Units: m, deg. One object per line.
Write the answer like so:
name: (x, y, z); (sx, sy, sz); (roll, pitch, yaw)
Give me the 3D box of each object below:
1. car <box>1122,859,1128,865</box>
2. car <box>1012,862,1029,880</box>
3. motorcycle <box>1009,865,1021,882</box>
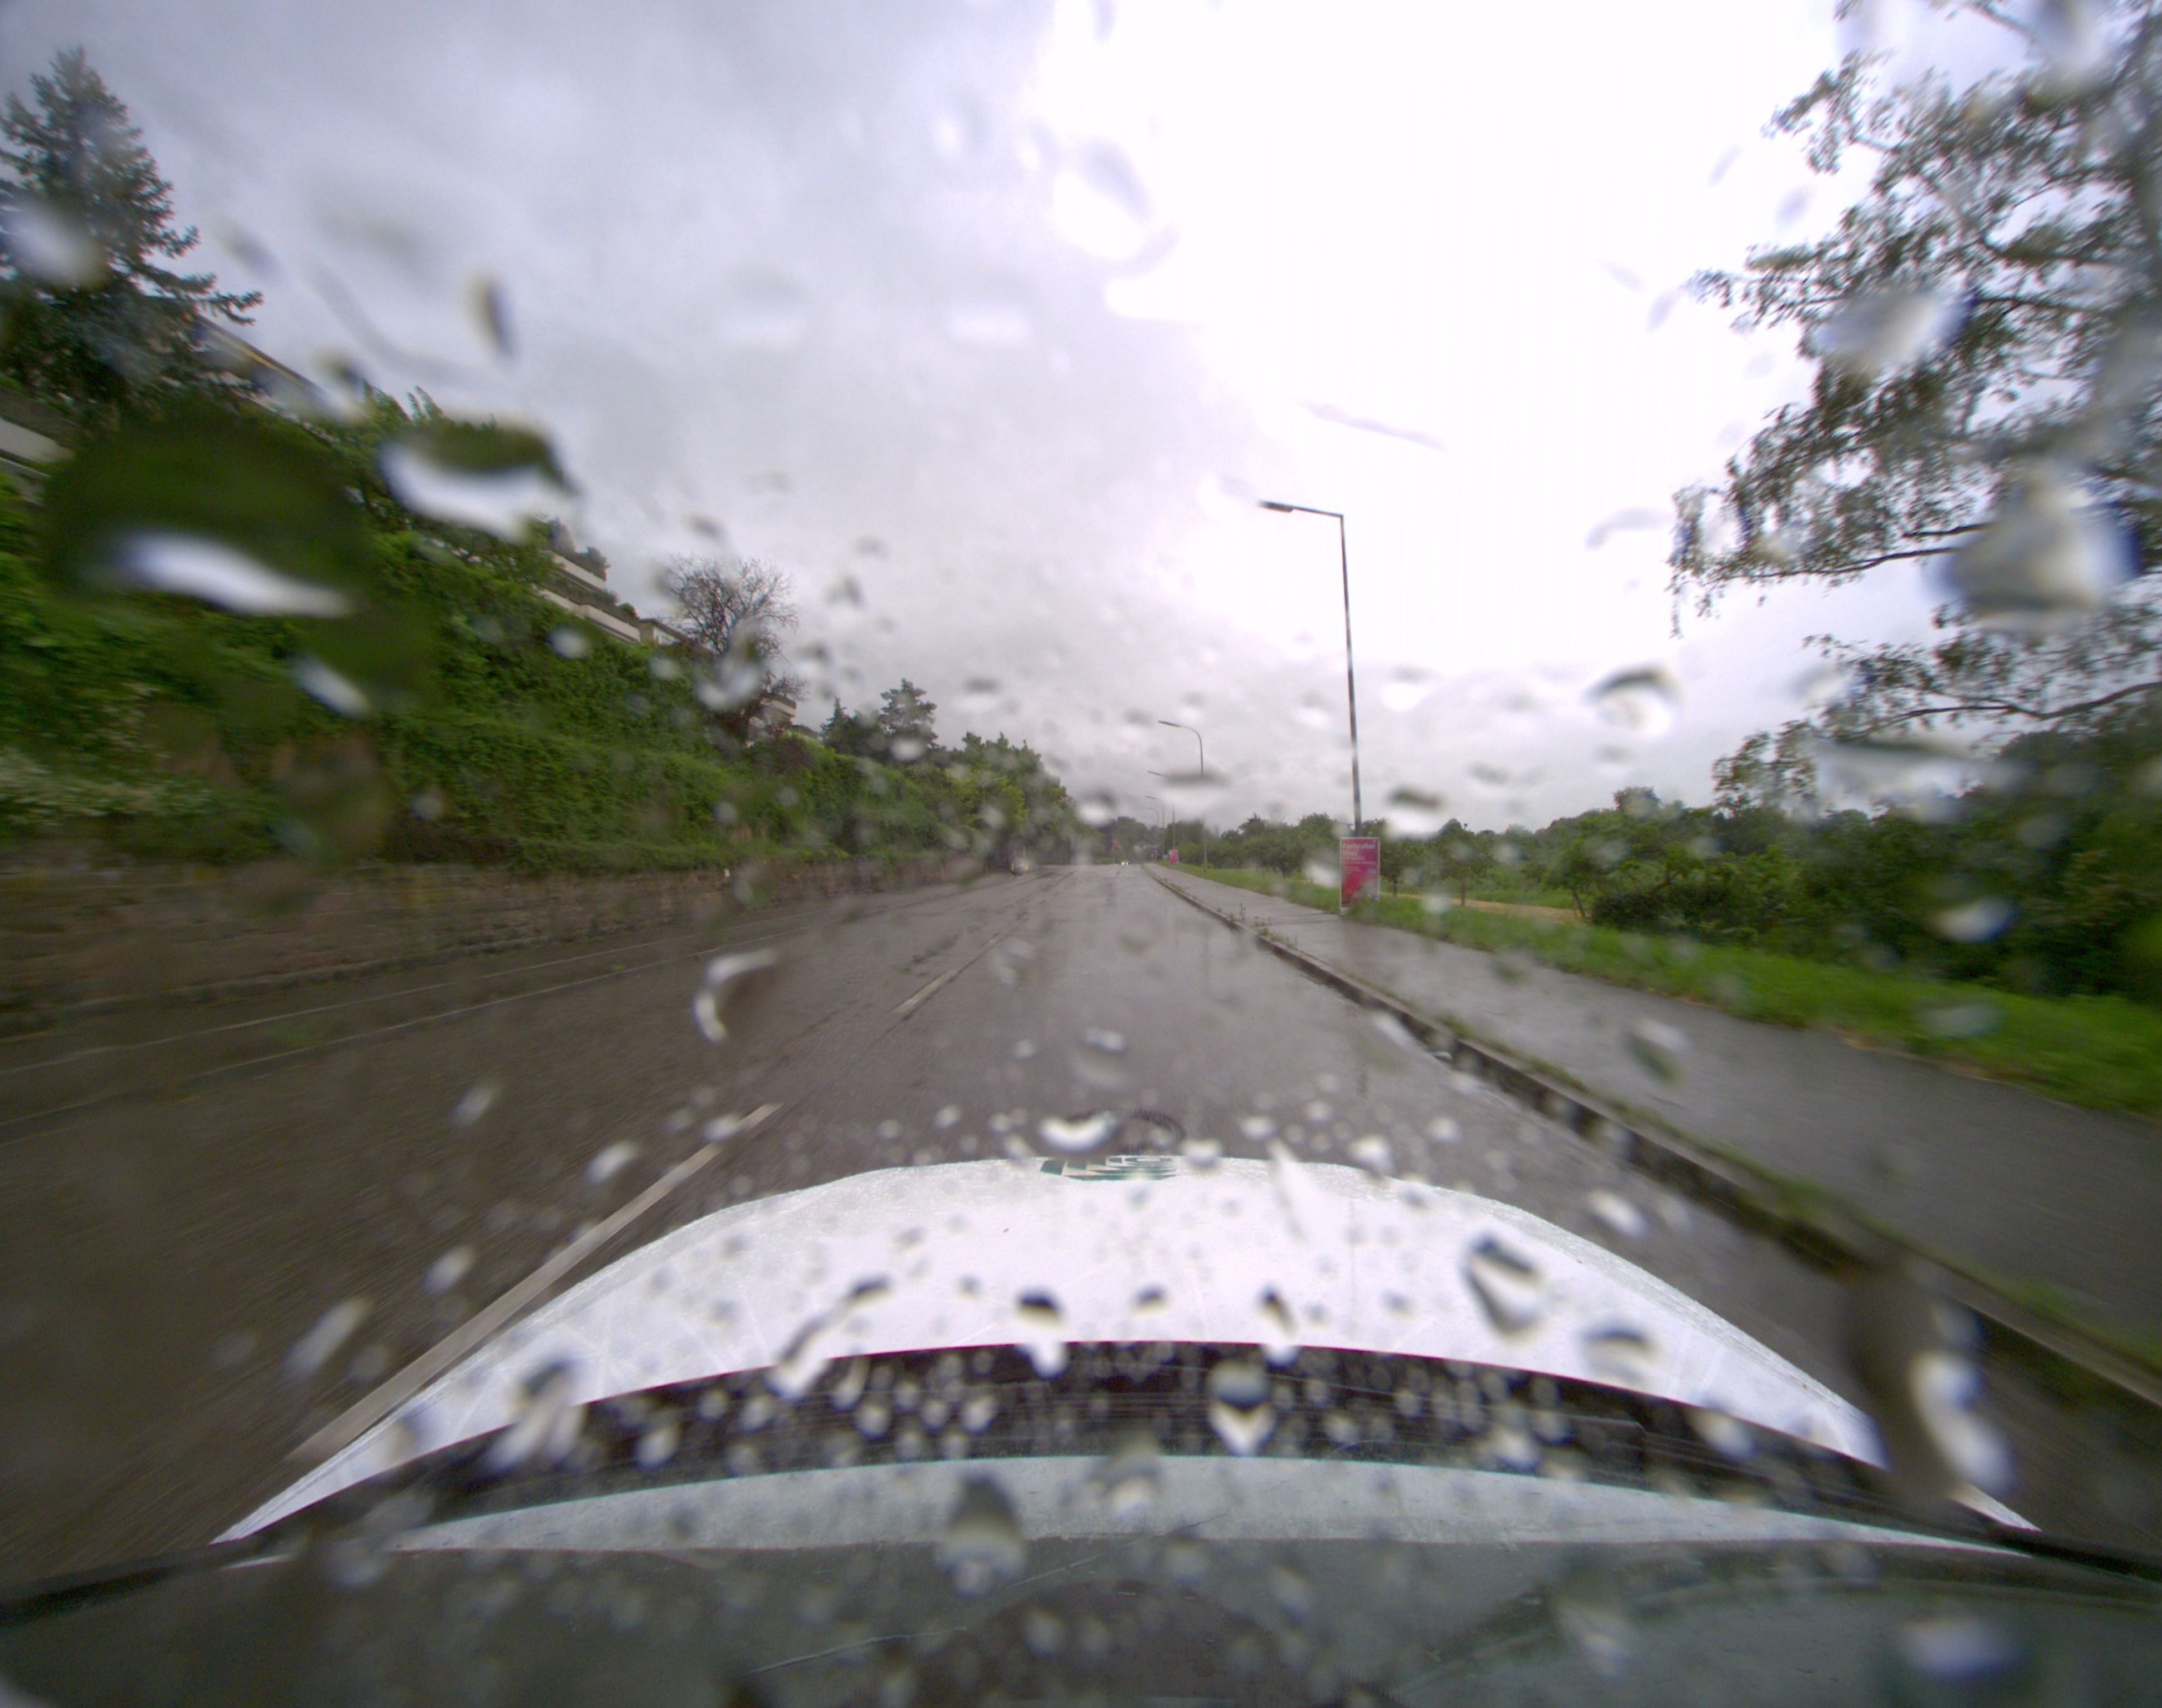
car: (13.276, 2.520, 246.409); (1.788, 1.762, 4.000); (-1, 0, 1)
car: (-5.413, 1.530, 72.679); (1.431, 1.537, 2.814); (-2, 0, -6)
motorcycle: (-5.334, 1.560, 65.854); (0.835, 1.341, 2.496); (-2, 0, -4)
